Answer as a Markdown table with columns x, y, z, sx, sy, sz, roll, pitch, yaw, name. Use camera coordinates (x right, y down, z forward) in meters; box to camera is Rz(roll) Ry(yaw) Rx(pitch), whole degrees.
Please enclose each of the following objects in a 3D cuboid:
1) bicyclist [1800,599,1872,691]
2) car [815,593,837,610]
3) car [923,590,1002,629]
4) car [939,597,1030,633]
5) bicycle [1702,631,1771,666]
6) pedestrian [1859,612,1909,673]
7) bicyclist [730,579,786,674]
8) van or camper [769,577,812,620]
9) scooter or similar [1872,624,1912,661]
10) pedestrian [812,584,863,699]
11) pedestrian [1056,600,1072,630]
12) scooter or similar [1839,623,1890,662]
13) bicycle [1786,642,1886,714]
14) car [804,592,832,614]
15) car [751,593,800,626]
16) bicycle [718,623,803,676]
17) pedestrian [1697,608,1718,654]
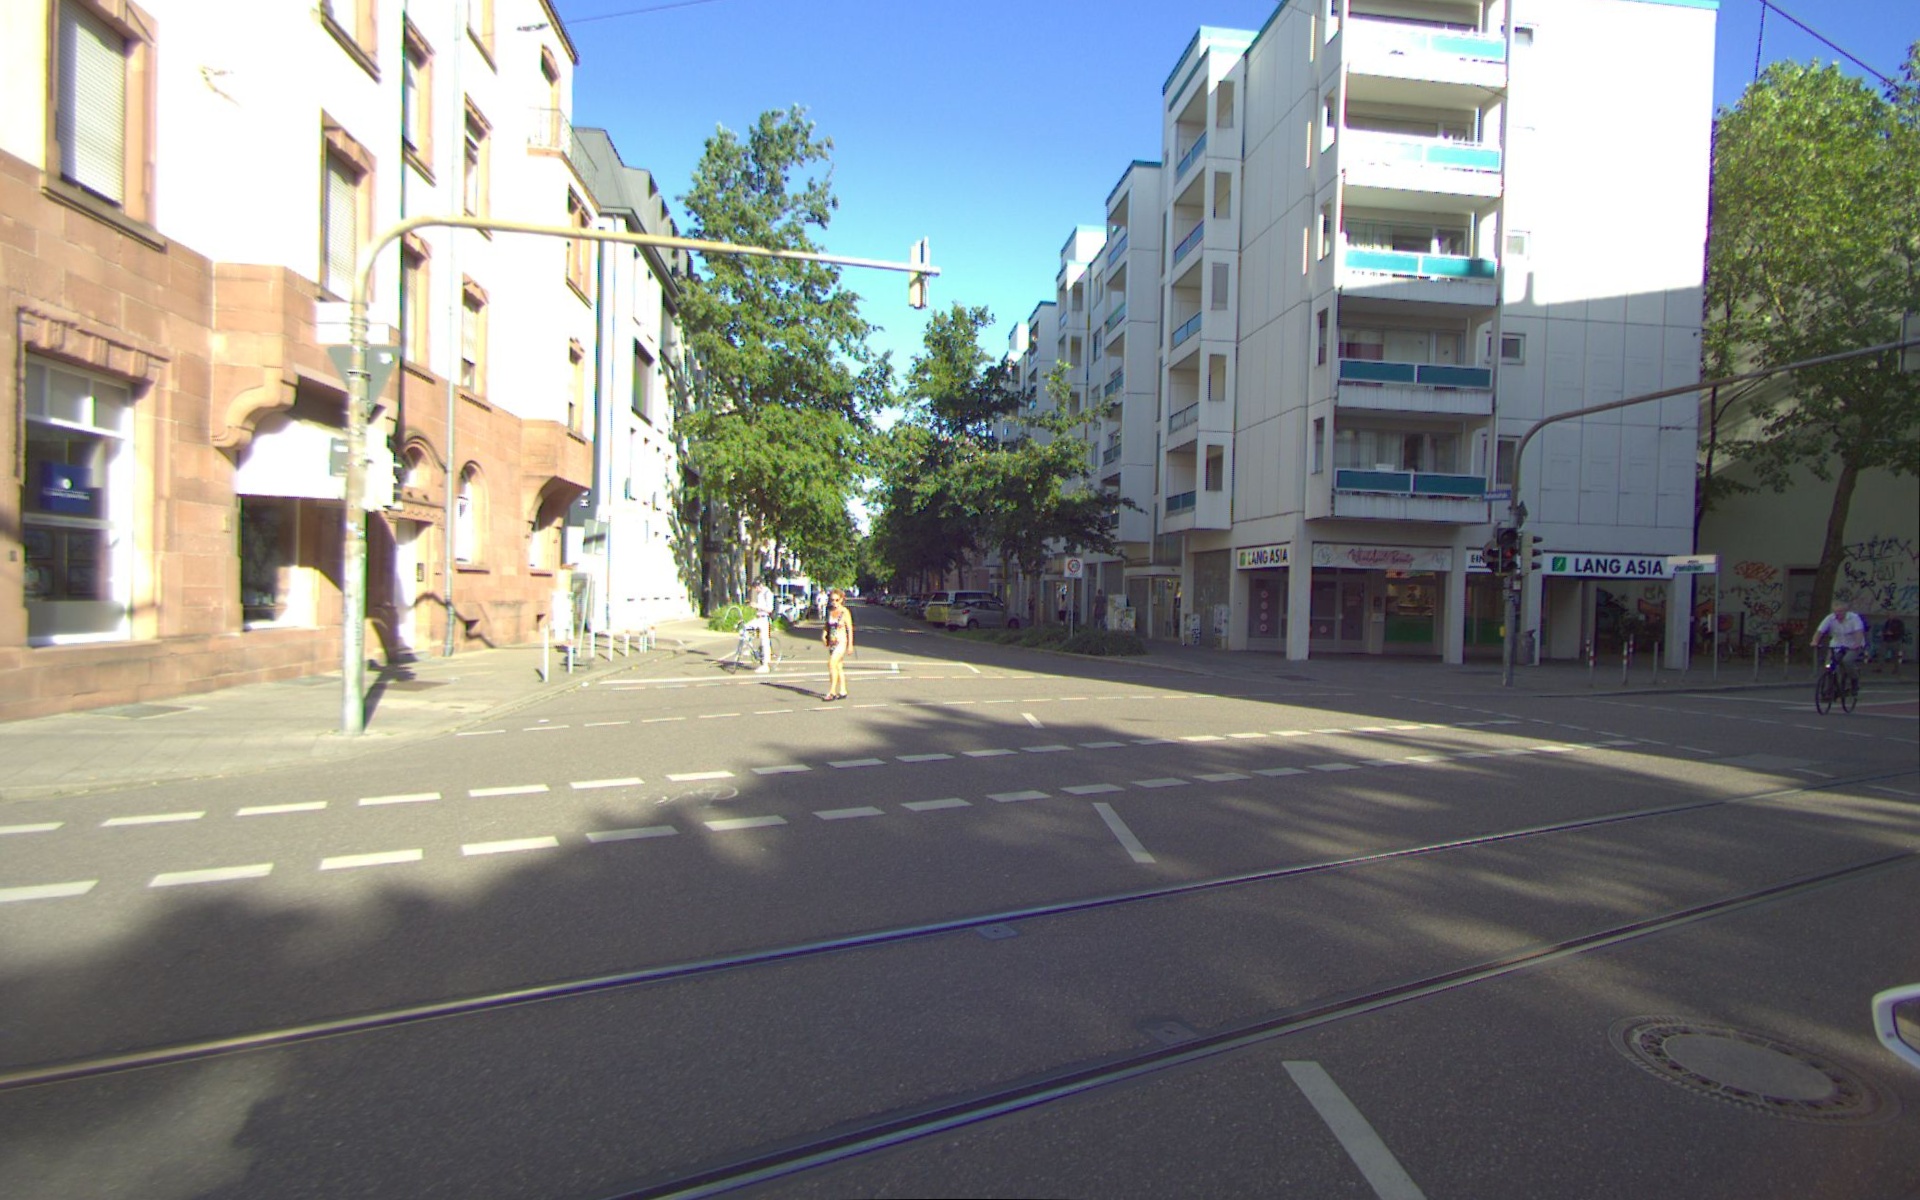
| x | y | z | sx | sy | sz | roll | pitch | yaw | name |
| --- | --- | --- | --- | --- | --- | --- | --- | --- | --- |
| 14.785 | 0.743 | 16.960 | 0.769 | 1.503 | 0.679 | 1 | 1 | -31 | bicyclist |
| -12.570 | 0.132 | 94.385 | 1.963 | 1.547 | 3.995 | 2 | 0 | -7 | car |
| 0.141 | 0.506 | 52.088 | 3.964 | 1.900 | 1.588 | 1 | 1 | -38 | car |
| 1.135 | 0.683 | 46.570 | 3.952 | 1.506 | 1.593 | 0 | 3 | -29 | car |
| 25.217 | 1.560 | 32.667 | 0.652 | 1.048 | 1.921 | 1 | 0 | -3 | bicycle |
| 27.879 | 1.284 | 30.305 | 1.010 | 1.789 | 0.681 | 1 | 1 | -19 | pedestrian |
| -3.924 | 0.498 | 19.569 | 0.603 | 1.787 | 0.974 | 2 | 1 | 21 | bicyclist |
| -10.009 | -0.107 | 59.641 | 1.962 | 2.397 | 5.470 | 2 | 0 | -5 | van or camper |
| 32.354 | 1.460 | 34.874 | 0.762 | 1.238 | 0.929 | 1 | 1 | -42 | scooter or similar |
| -1.732 | 0.578 | 14.174 | 0.510 | 1.573 | 0.540 | 1 | 1 | -31 | pedestrian |
| 5.299 | 0.747 | 51.077 | 0.703 | 1.514 | 0.744 | 2 | 1 | 1 | pedestrian |
| 31.292 | 1.444 | 34.751 | 0.762 | 1.275 | 1.217 | 1 | 1 | -41 | scooter or similar |
| 14.803 | 1.291 | 16.964 | 2.060 | 1.135 | 0.689 | 1 | -1 | -31 | bicycle |
| -10.727 | 0.195 | 76.246 | 1.963 | 1.547 | 3.995 | 2 | 0 | -7 | car |
| -9.056 | 0.432 | 49.568 | 1.962 | 1.483 | 3.996 | 2 | 0 | -5 | car |
| -3.878 | 0.948 | 19.689 | 0.776 | 0.921 | 1.814 | 2 | 0 | 21 | bicycle |
| 28.917 | 1.186 | 38.866 | 0.541 | 1.741 | 0.453 | 1 | 0 | -31 | pedestrian |
